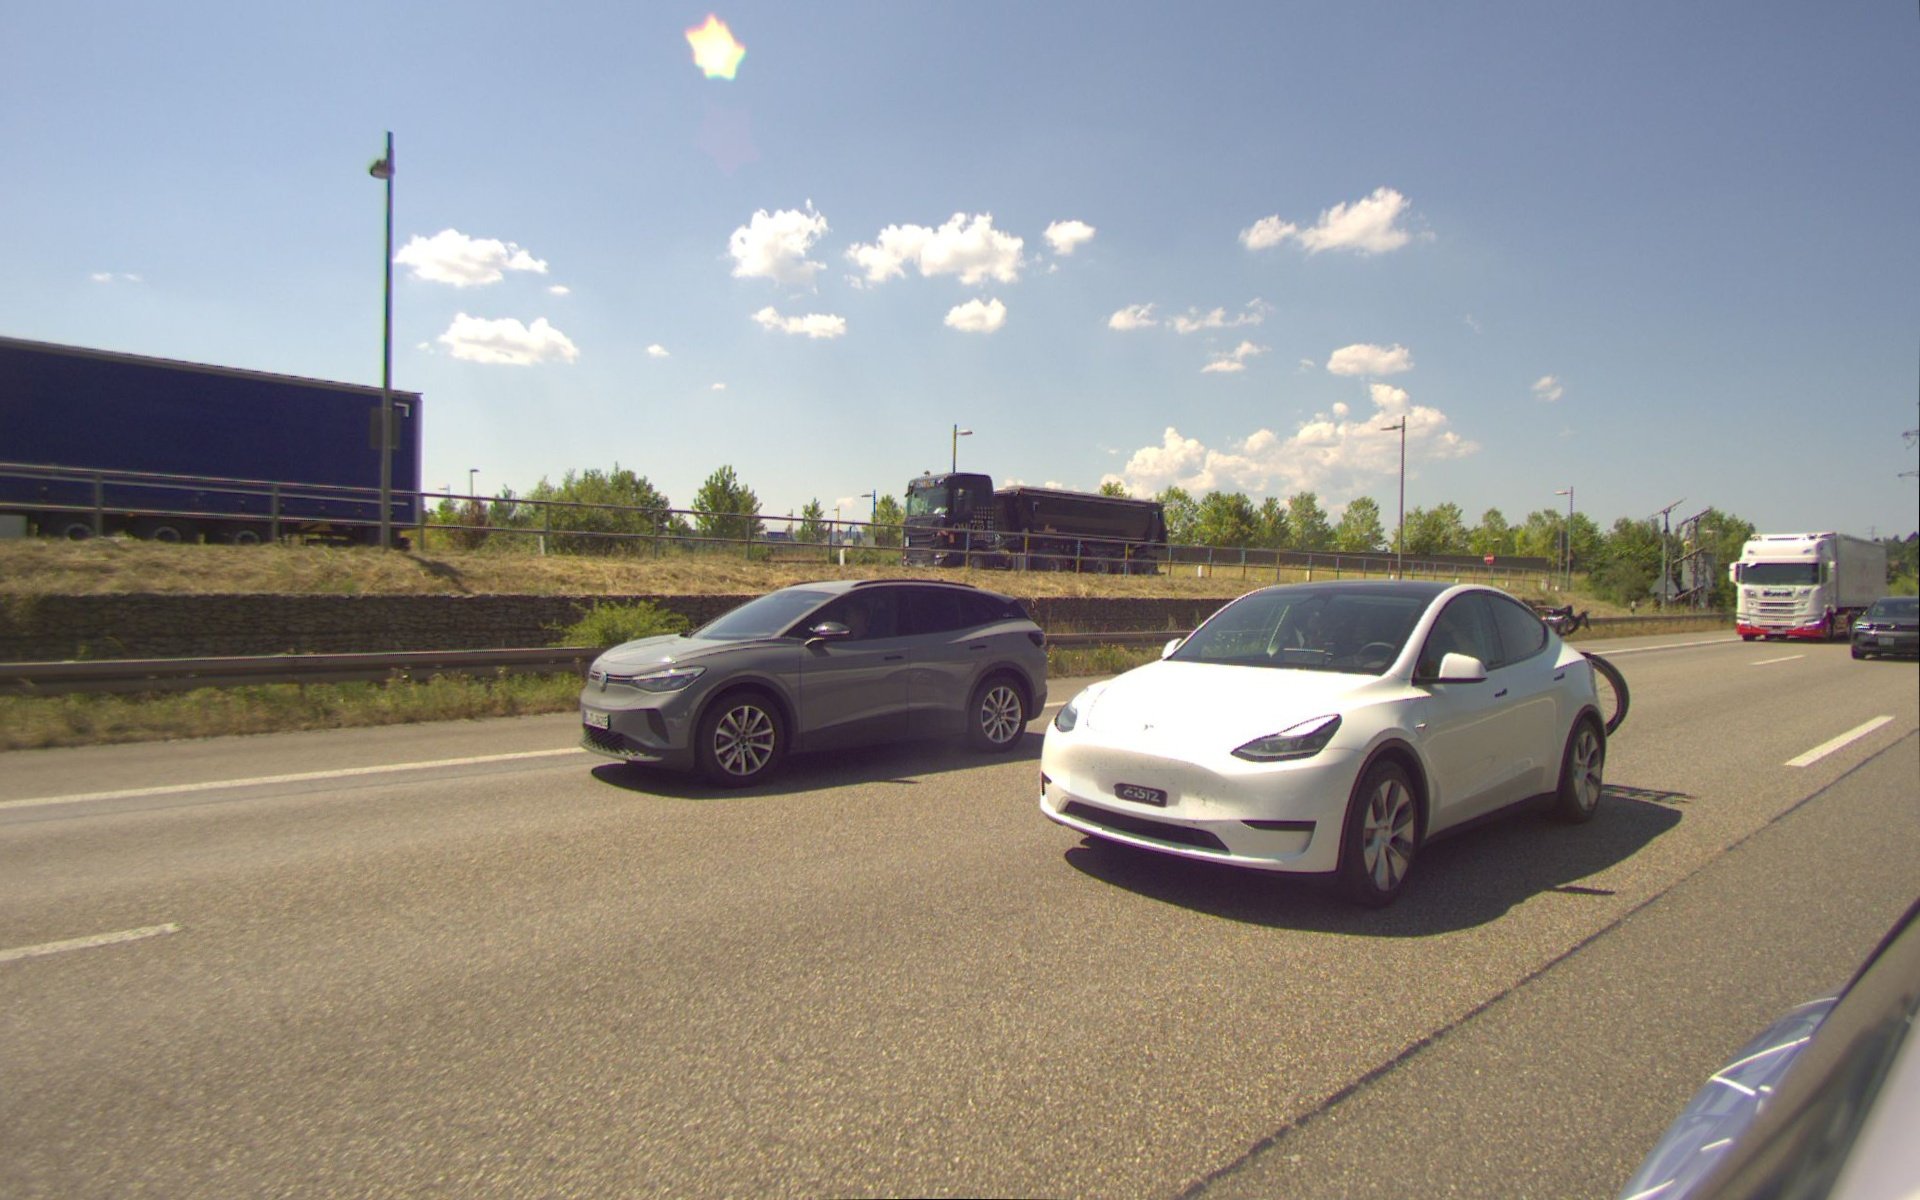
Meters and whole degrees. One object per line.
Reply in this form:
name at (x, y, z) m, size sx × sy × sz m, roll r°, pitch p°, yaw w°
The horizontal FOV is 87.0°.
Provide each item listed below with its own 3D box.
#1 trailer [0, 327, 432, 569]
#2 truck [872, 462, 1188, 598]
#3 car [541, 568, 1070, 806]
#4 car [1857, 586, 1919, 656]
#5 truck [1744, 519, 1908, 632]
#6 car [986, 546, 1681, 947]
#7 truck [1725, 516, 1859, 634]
trailer at (-17.966, -2.741, 18.960) m, size 14.012 × 4.134 × 3.057 m, roll -1°, pitch 0°, yaw -42°
truck at (2.923, -2.228, 36.365) m, size 12.302 × 4.134 × 3.794 m, roll -1°, pitch 0°, yaw -41°
car at (-1.214, 0.577, 9.265) m, size 4.506 × 1.657 × 1.871 m, roll -1°, pitch 0°, yaw -41°
car at (24.628, 0.491, 25.826) m, size 3.974 × 1.667 × 1.955 m, roll -1°, pitch 0°, yaw -39°
truck at (35.061, -0.908, 40.720) m, size 12.283 × 3.957 × 3.074 m, roll -1°, pitch 0°, yaw -40°
car at (2.856, 0.575, 6.748) m, size 5.503 × 1.657 × 1.953 m, roll -1°, pitch 0°, yaw -41°
truck at (29.825, -0.842, 36.269) m, size 3.779 × 3.957 × 3.074 m, roll 0°, pitch 0°, yaw -40°
